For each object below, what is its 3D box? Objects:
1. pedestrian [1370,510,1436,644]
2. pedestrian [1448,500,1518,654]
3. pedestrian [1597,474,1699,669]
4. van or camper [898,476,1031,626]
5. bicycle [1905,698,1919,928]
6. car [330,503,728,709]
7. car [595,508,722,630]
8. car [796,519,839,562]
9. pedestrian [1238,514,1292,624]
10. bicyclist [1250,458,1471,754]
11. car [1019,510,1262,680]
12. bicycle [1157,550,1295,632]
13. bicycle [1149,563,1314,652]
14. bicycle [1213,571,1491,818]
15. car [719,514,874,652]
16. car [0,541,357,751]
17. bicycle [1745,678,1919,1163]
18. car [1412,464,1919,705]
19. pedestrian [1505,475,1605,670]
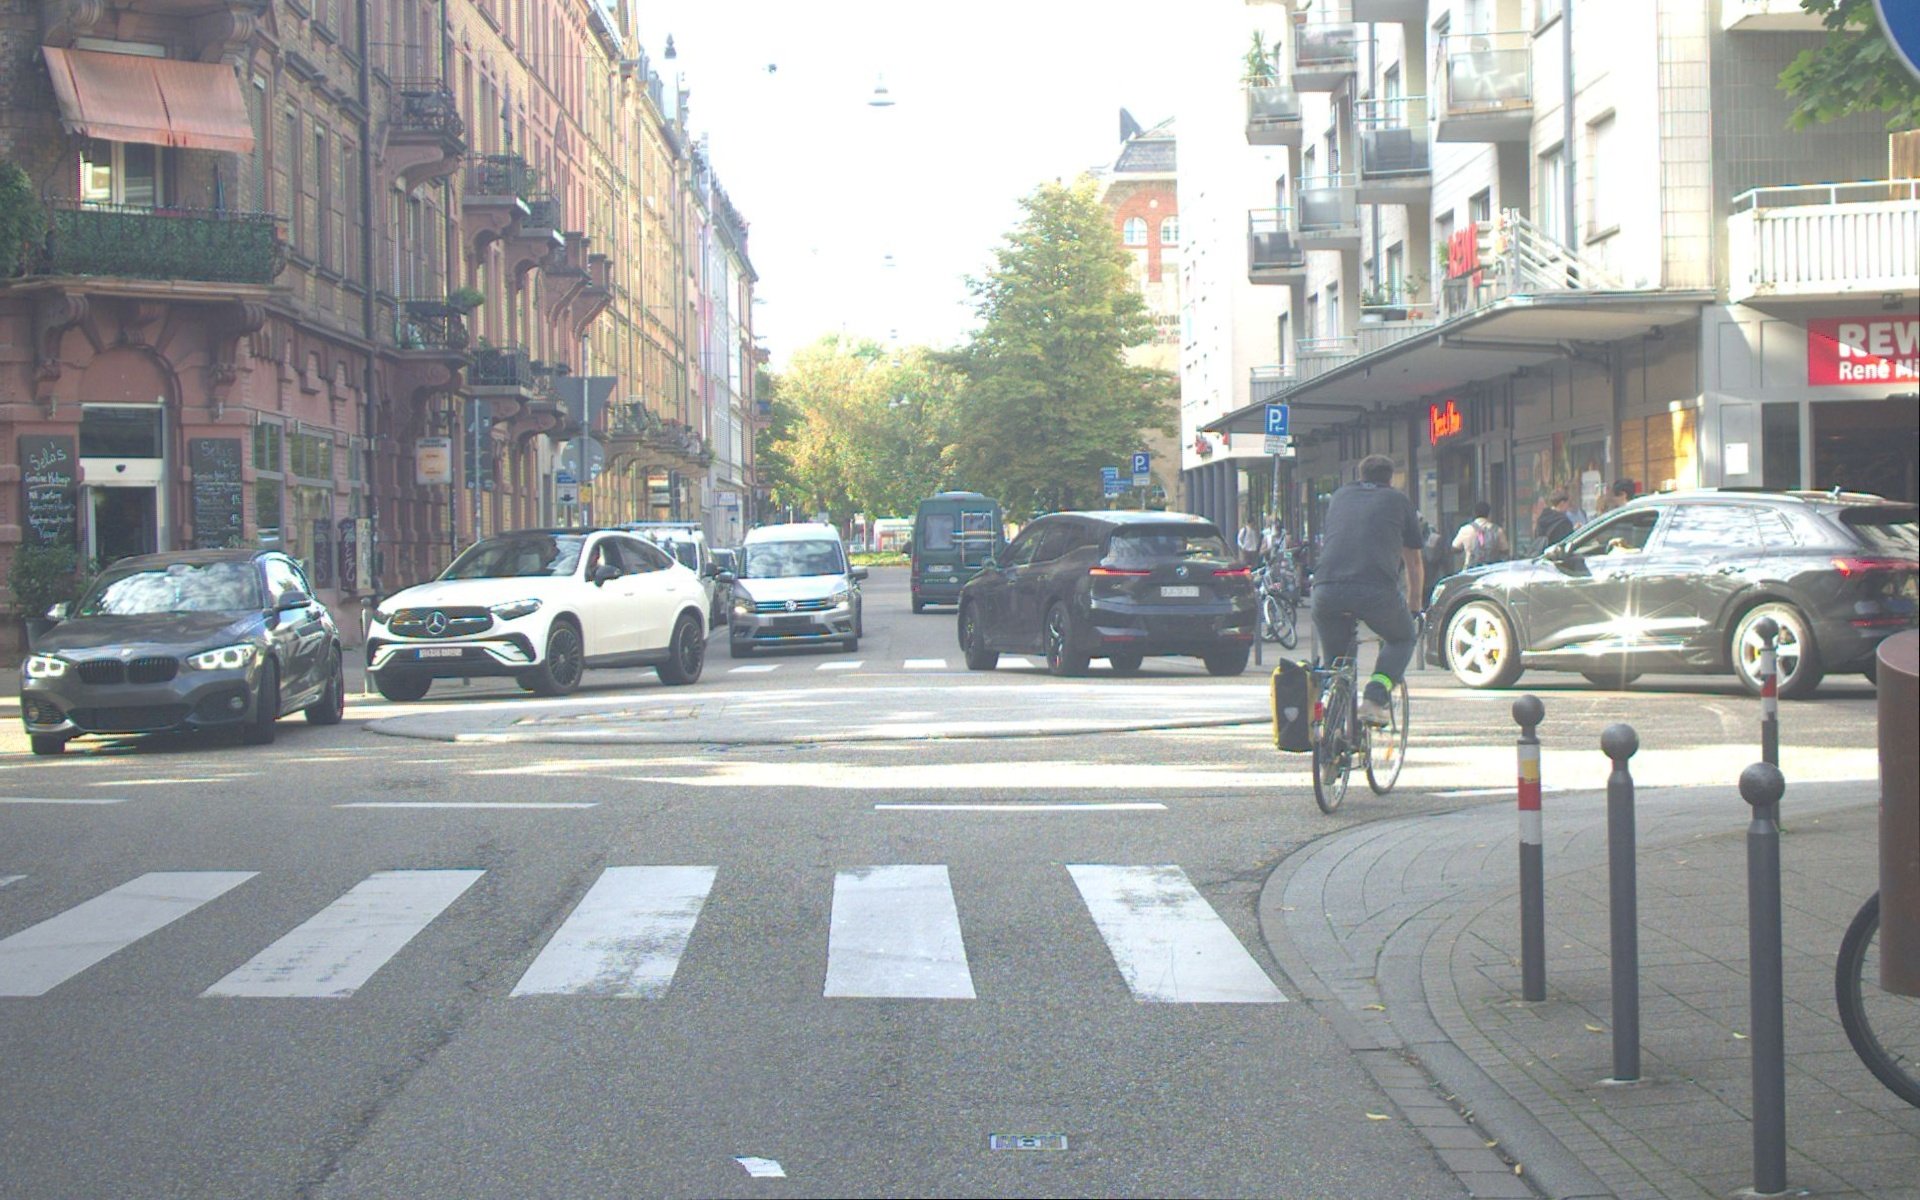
[{"bbox_3d":[5.449,-0.289,42.255,0.745,1.623,0.812,-1,1,11],"label":"pedestrian"},{"bbox_3d":[5.899,-0.264,38.763,0.741,1.706,0.733,-1,1,11],"label":"pedestrian"},{"bbox_3d":[6.607,-0.274,33.048,0.869,1.845,0.612,-1,1,5],"label":"pedestrian"},{"bbox_3d":[0.048,-1.042,72.549,2.531,3.027,4.459,-1,1,-3],"label":"van or camper"},{"bbox_3d":[2.993,0.731,7.680,0.459,1.036,1.857,-5,2,-30],"label":"bicycle"},{"bbox_3d":[-4.154,0.000,34.045,1.944,1.716,4.846,-2,3,19],"label":"car"},{"bbox_3d":[-5.212,-0.554,59.812,1.993,2.007,4.001,-1,1,-3],"label":"car"},{"bbox_3d":[-6.958,-2.910,167.708,1.993,2.007,4.000,-1,1,-1],"label":"car"},{"bbox_3d":[5.218,-0.533,58.761,0.731,1.858,1.062,-1,1,14],"label":"pedestrian"},{"bbox_3d":[2.074,0.020,17.743,0.934,1.478,0.746,1,1,25],"label":"bicyclist"},{"bbox_3d":[1.790,-0.084,35.370,1.993,1.612,4.001,-1,1,-4],"label":"car"},{"bbox_3d":[3.480,-0.127,44.885,1.785,1.023,0.681,-2,1,-38],"label":"bicycle"},{"bbox_3d":[3.360,0.091,42.595,2.000,1.042,0.532,-1,1,2],"label":"bicycle"},{"bbox_3d":[2.069,0.443,17.778,0.666,1.174,2.494,1,1,25],"label":"bicycle"},{"bbox_3d":[-2.257,-0.273,48.541,1.793,1.784,4.736,-2,1,1],"label":"car"},{"bbox_3d":[-5.729,0.303,25.646,1.750,1.431,4.212,0,0,0],"label":"car"},{"bbox_3d":[2.578,0.716,7.413,0.548,1.036,1.857,-5,2,-30],"label":"bicycle"},{"bbox_3d":[6.134,-0.171,27.595,2.037,1.718,4.844,-4,3,-39],"label":"car"},{"bbox_3d":[5.728,-0.271,33.127,0.869,1.845,0.612,-1,1,5],"label":"pedestrian"}]
